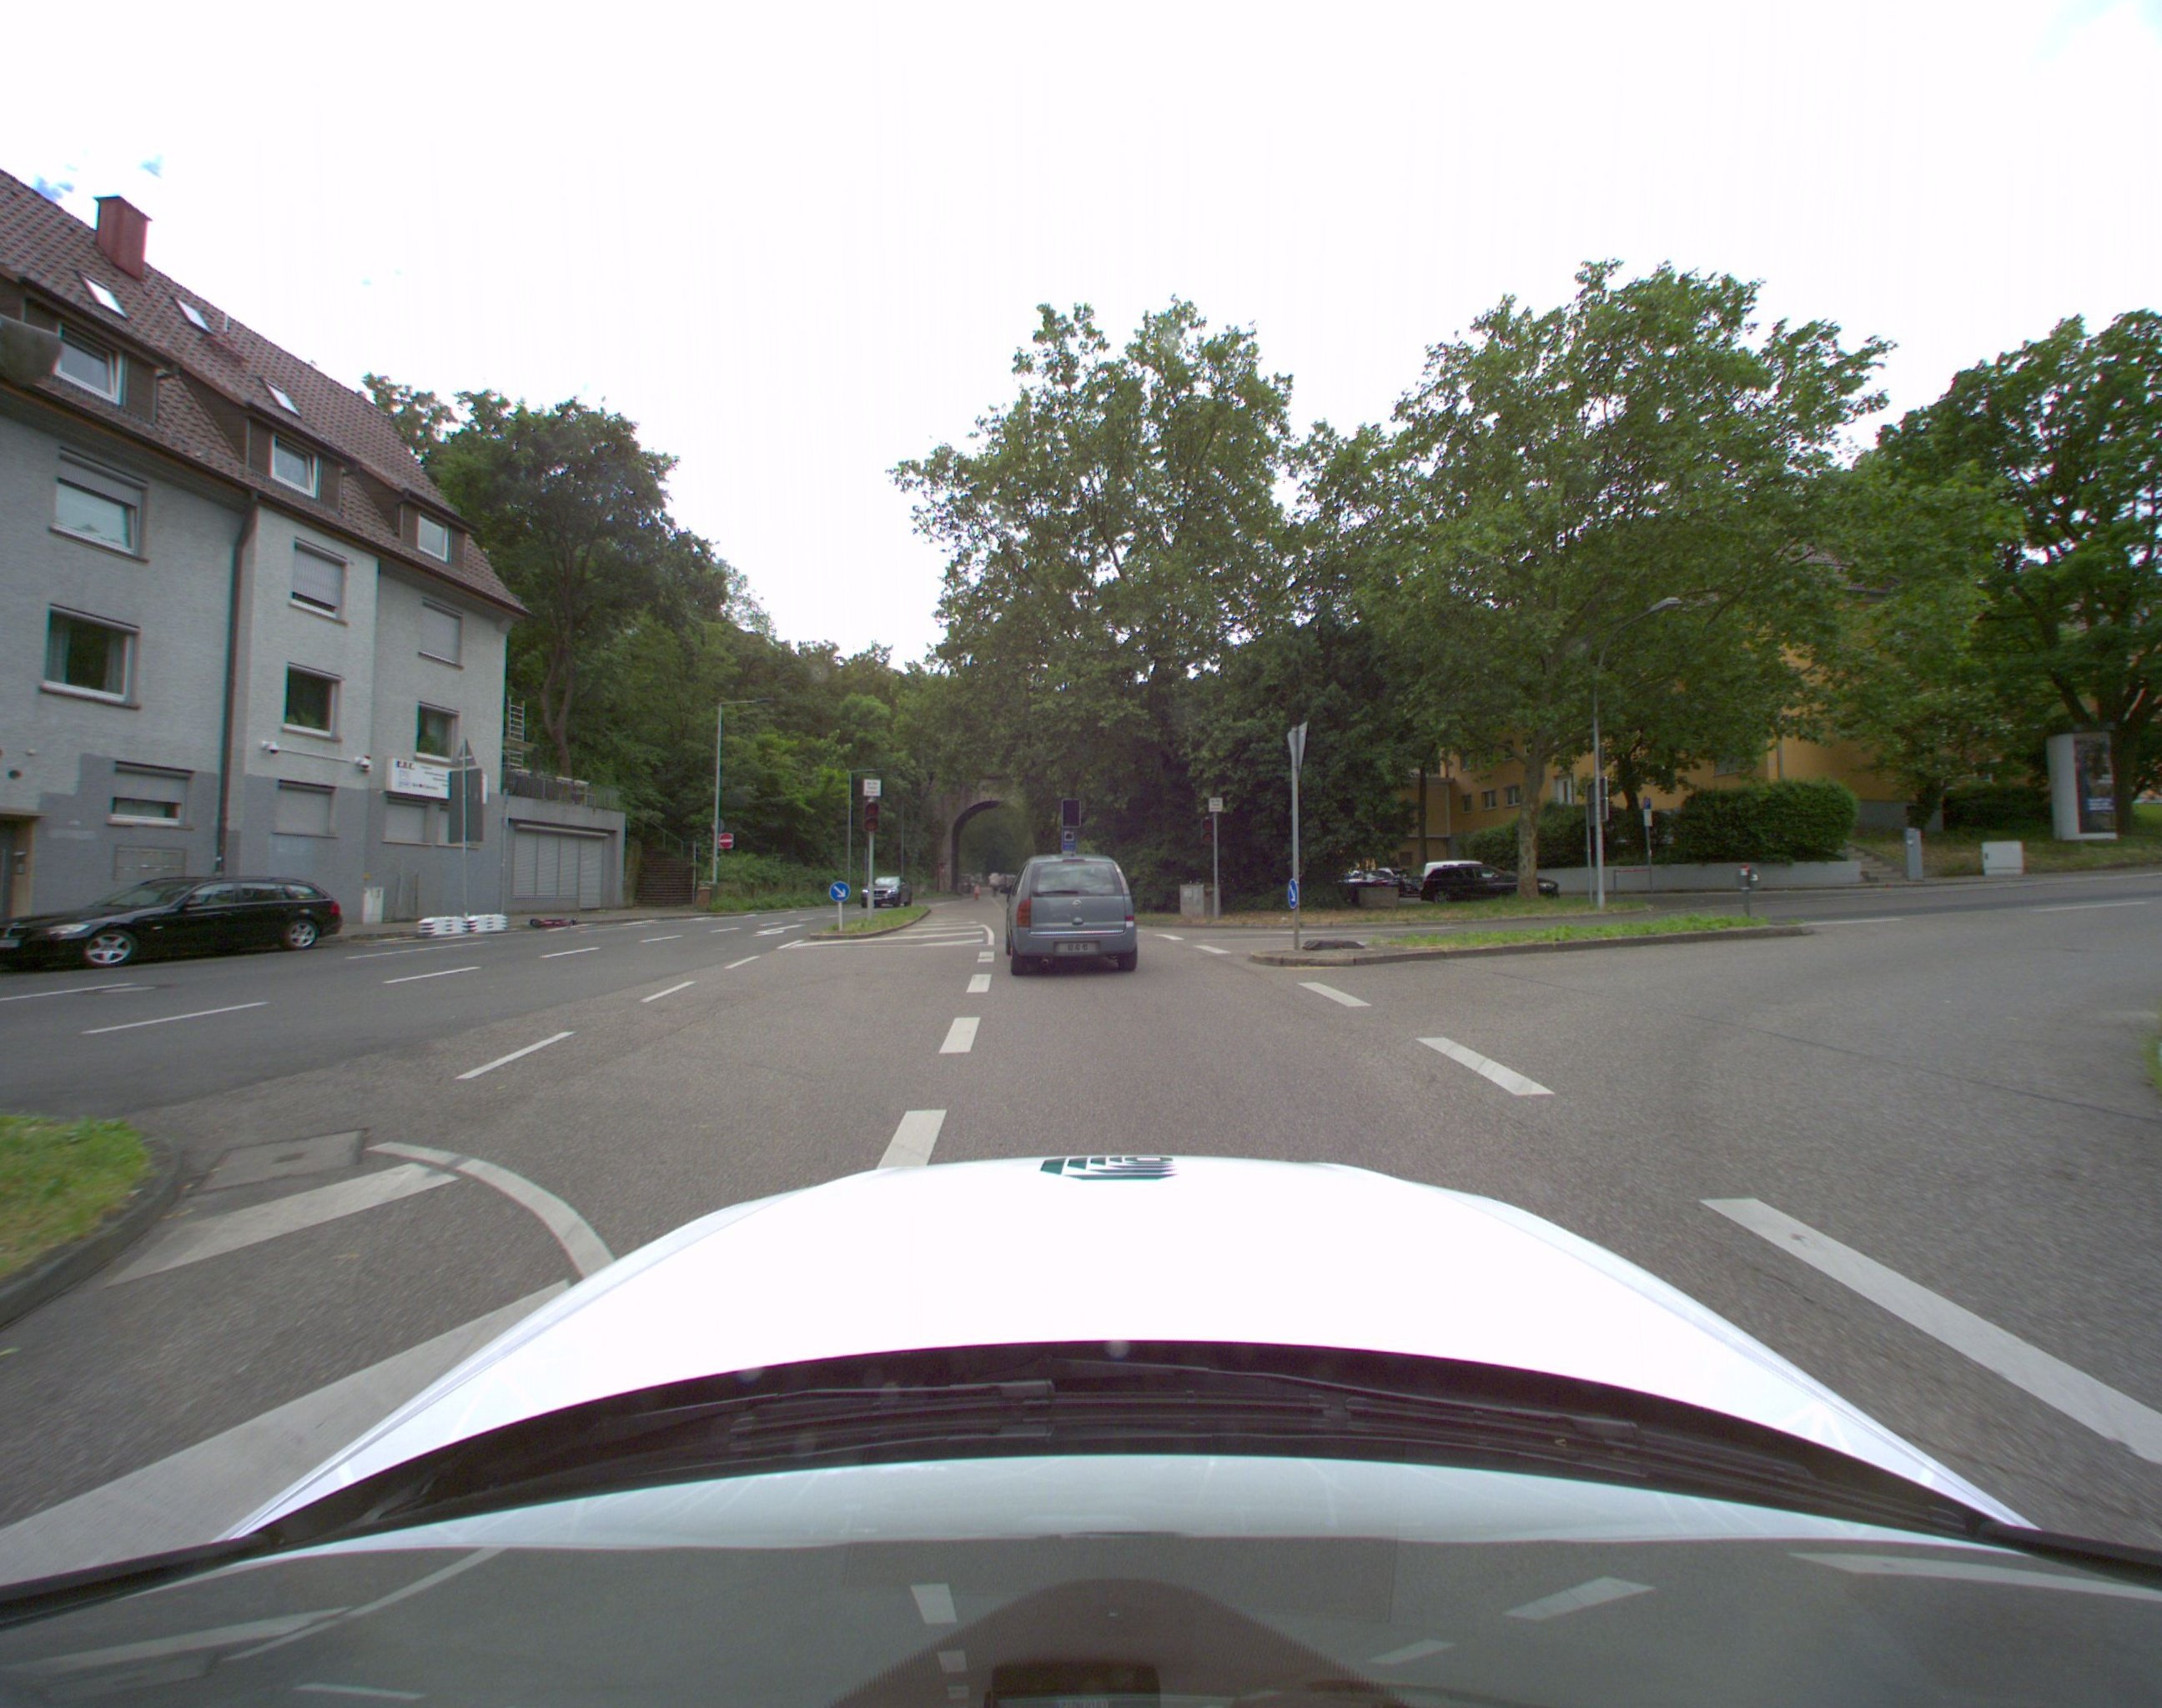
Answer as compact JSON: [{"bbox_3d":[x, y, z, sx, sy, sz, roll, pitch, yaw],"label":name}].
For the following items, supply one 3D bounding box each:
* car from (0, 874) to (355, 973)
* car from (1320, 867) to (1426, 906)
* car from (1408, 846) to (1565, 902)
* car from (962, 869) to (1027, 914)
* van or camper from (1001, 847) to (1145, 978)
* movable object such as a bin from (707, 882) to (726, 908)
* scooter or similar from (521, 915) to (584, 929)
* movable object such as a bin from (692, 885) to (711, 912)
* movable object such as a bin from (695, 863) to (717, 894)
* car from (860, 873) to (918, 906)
[{"bbox_3d":[-16.081,1.110,14.523,1.984,1.400,4.523,-1,0,5],"label":"car"},{"bbox_3d":[12.916,1.455,36.401,1.997,1.578,4.878,-1,-2,-15],"label":"car"},{"bbox_3d":[13.661,0.687,27.541,4.368,1.485,1.875,-6,-2,36],"label":"car"},{"bbox_3d":[-3.448,1.473,31.831,1.997,1.653,3.979,1,-3,-14],"label":"car"},{"bbox_3d":[-0.269,0.746,12.048,1.733,1.578,3.637,-2,0,-7],"label":"van or camper"},{"bbox_3d":[-14.897,1.661,33.322,0.556,1.025,0.429,3,-2,-11],"label":"movable object such as a bin"},{"bbox_3d":[-14.591,1.876,22.524,1.124,0.288,1.095,-1,-2,-11],"label":"scooter or similar"},{"bbox_3d":[-14.469,1.691,31.075,0.516,0.967,0.443,3,-2,-11],"label":"movable object such as a bin"},{"bbox_3d":[-14.580,0.950,31.699,0.605,1.186,0.490,3,-2,-11],"label":"movable object such as a bin"},{"bbox_3d":[-10.293,1.892,44.063,1.863,1.699,4.936,-1,-2,1],"label":"car"}]
